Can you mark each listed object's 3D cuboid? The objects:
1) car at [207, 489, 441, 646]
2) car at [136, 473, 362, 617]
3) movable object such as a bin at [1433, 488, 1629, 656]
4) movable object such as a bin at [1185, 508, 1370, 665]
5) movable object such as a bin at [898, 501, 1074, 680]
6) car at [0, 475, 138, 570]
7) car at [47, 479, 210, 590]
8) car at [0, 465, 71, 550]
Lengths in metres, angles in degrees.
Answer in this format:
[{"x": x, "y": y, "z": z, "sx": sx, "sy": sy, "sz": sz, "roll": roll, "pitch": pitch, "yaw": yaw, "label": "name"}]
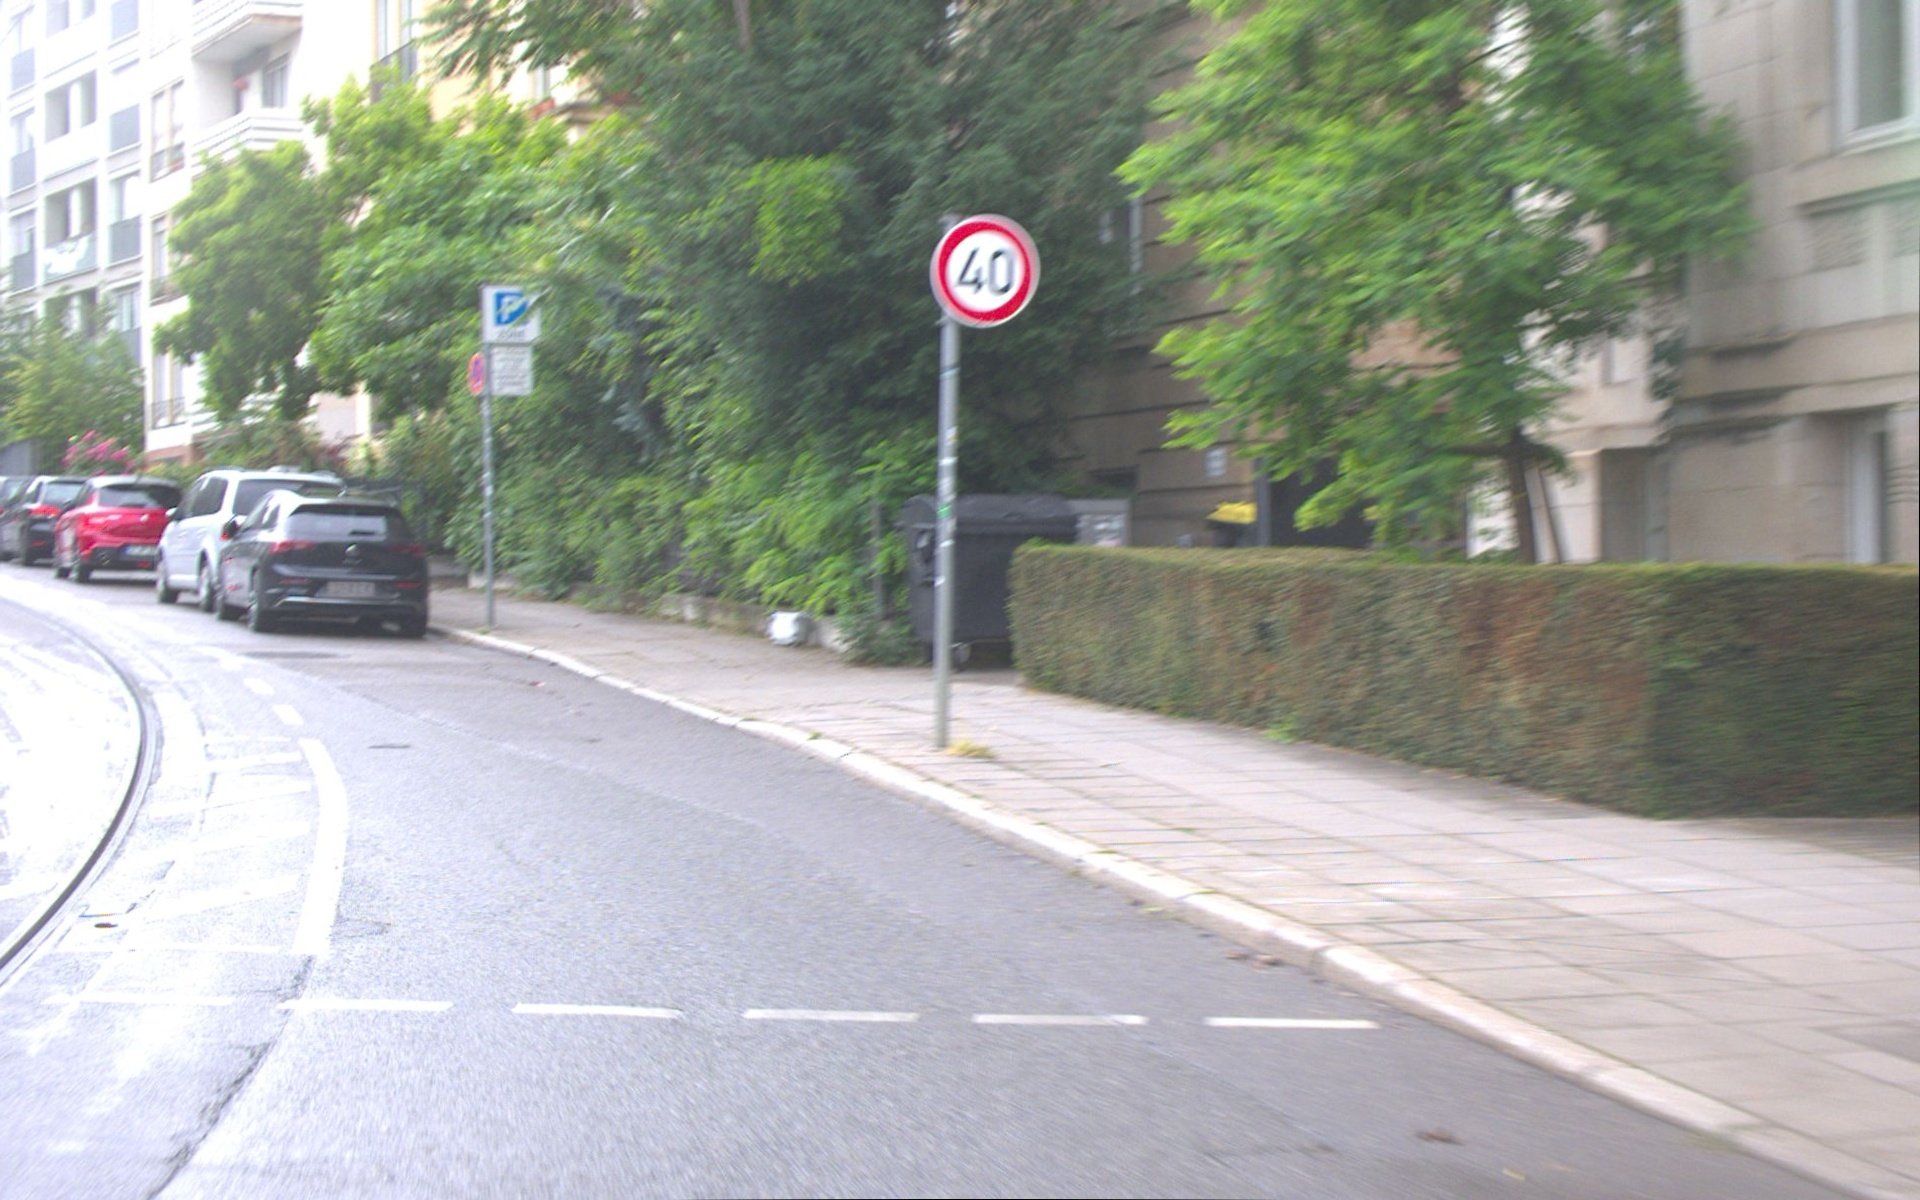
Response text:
[{"x": -6.672, "y": -0.374, "z": 35.781, "sx": 1.765, "sy": 1.386, "sz": 4.002, "roll": 1, "pitch": 3, "yaw": -19, "label": "car"}, {"x": -8.442, "y": -0.696, "z": 40.590, "sx": 1.765, "sy": 1.598, "sz": 4.290, "roll": -1, "pitch": 2, "yaw": -23, "label": "car"}, {"x": 5.063, "y": -0.268, "z": 30.550, "sx": 1.230, "sy": 1.420, "sz": 1.308, "roll": -2, "pitch": 2, "yaw": -18, "label": "movable object such as a bin"}, {"x": 2.745, "y": -0.134, "z": 29.838, "sx": 1.217, "sy": 1.304, "sz": 1.168, "roll": -2, "pitch": 2, "yaw": -18, "label": "movable object such as a bin"}, {"x": 0.219, "y": -0.096, "z": 28.725, "sx": 1.225, "sy": 1.398, "sz": 0.823, "roll": -2, "pitch": 5, "yaw": -26, "label": "movable object such as a bin"}, {"x": -14.574, "y": -1.281, "z": 55.776, "sx": 1.683, "sy": 1.432, "sz": 4.065, "roll": 1, "pitch": 2, "yaw": -24, "label": "car"}, {"x": -11.759, "y": -0.949, "z": 48.470, "sx": 1.721, "sy": 1.432, "sz": 3.842, "roll": 1, "pitch": 2, "yaw": -21, "label": "car"}, {"x": -17.046, "y": -1.675, "z": 61.123, "sx": 1.556, "sy": 1.432, "sz": 4.305, "roll": 1, "pitch": 2, "yaw": -26, "label": "car"}]
